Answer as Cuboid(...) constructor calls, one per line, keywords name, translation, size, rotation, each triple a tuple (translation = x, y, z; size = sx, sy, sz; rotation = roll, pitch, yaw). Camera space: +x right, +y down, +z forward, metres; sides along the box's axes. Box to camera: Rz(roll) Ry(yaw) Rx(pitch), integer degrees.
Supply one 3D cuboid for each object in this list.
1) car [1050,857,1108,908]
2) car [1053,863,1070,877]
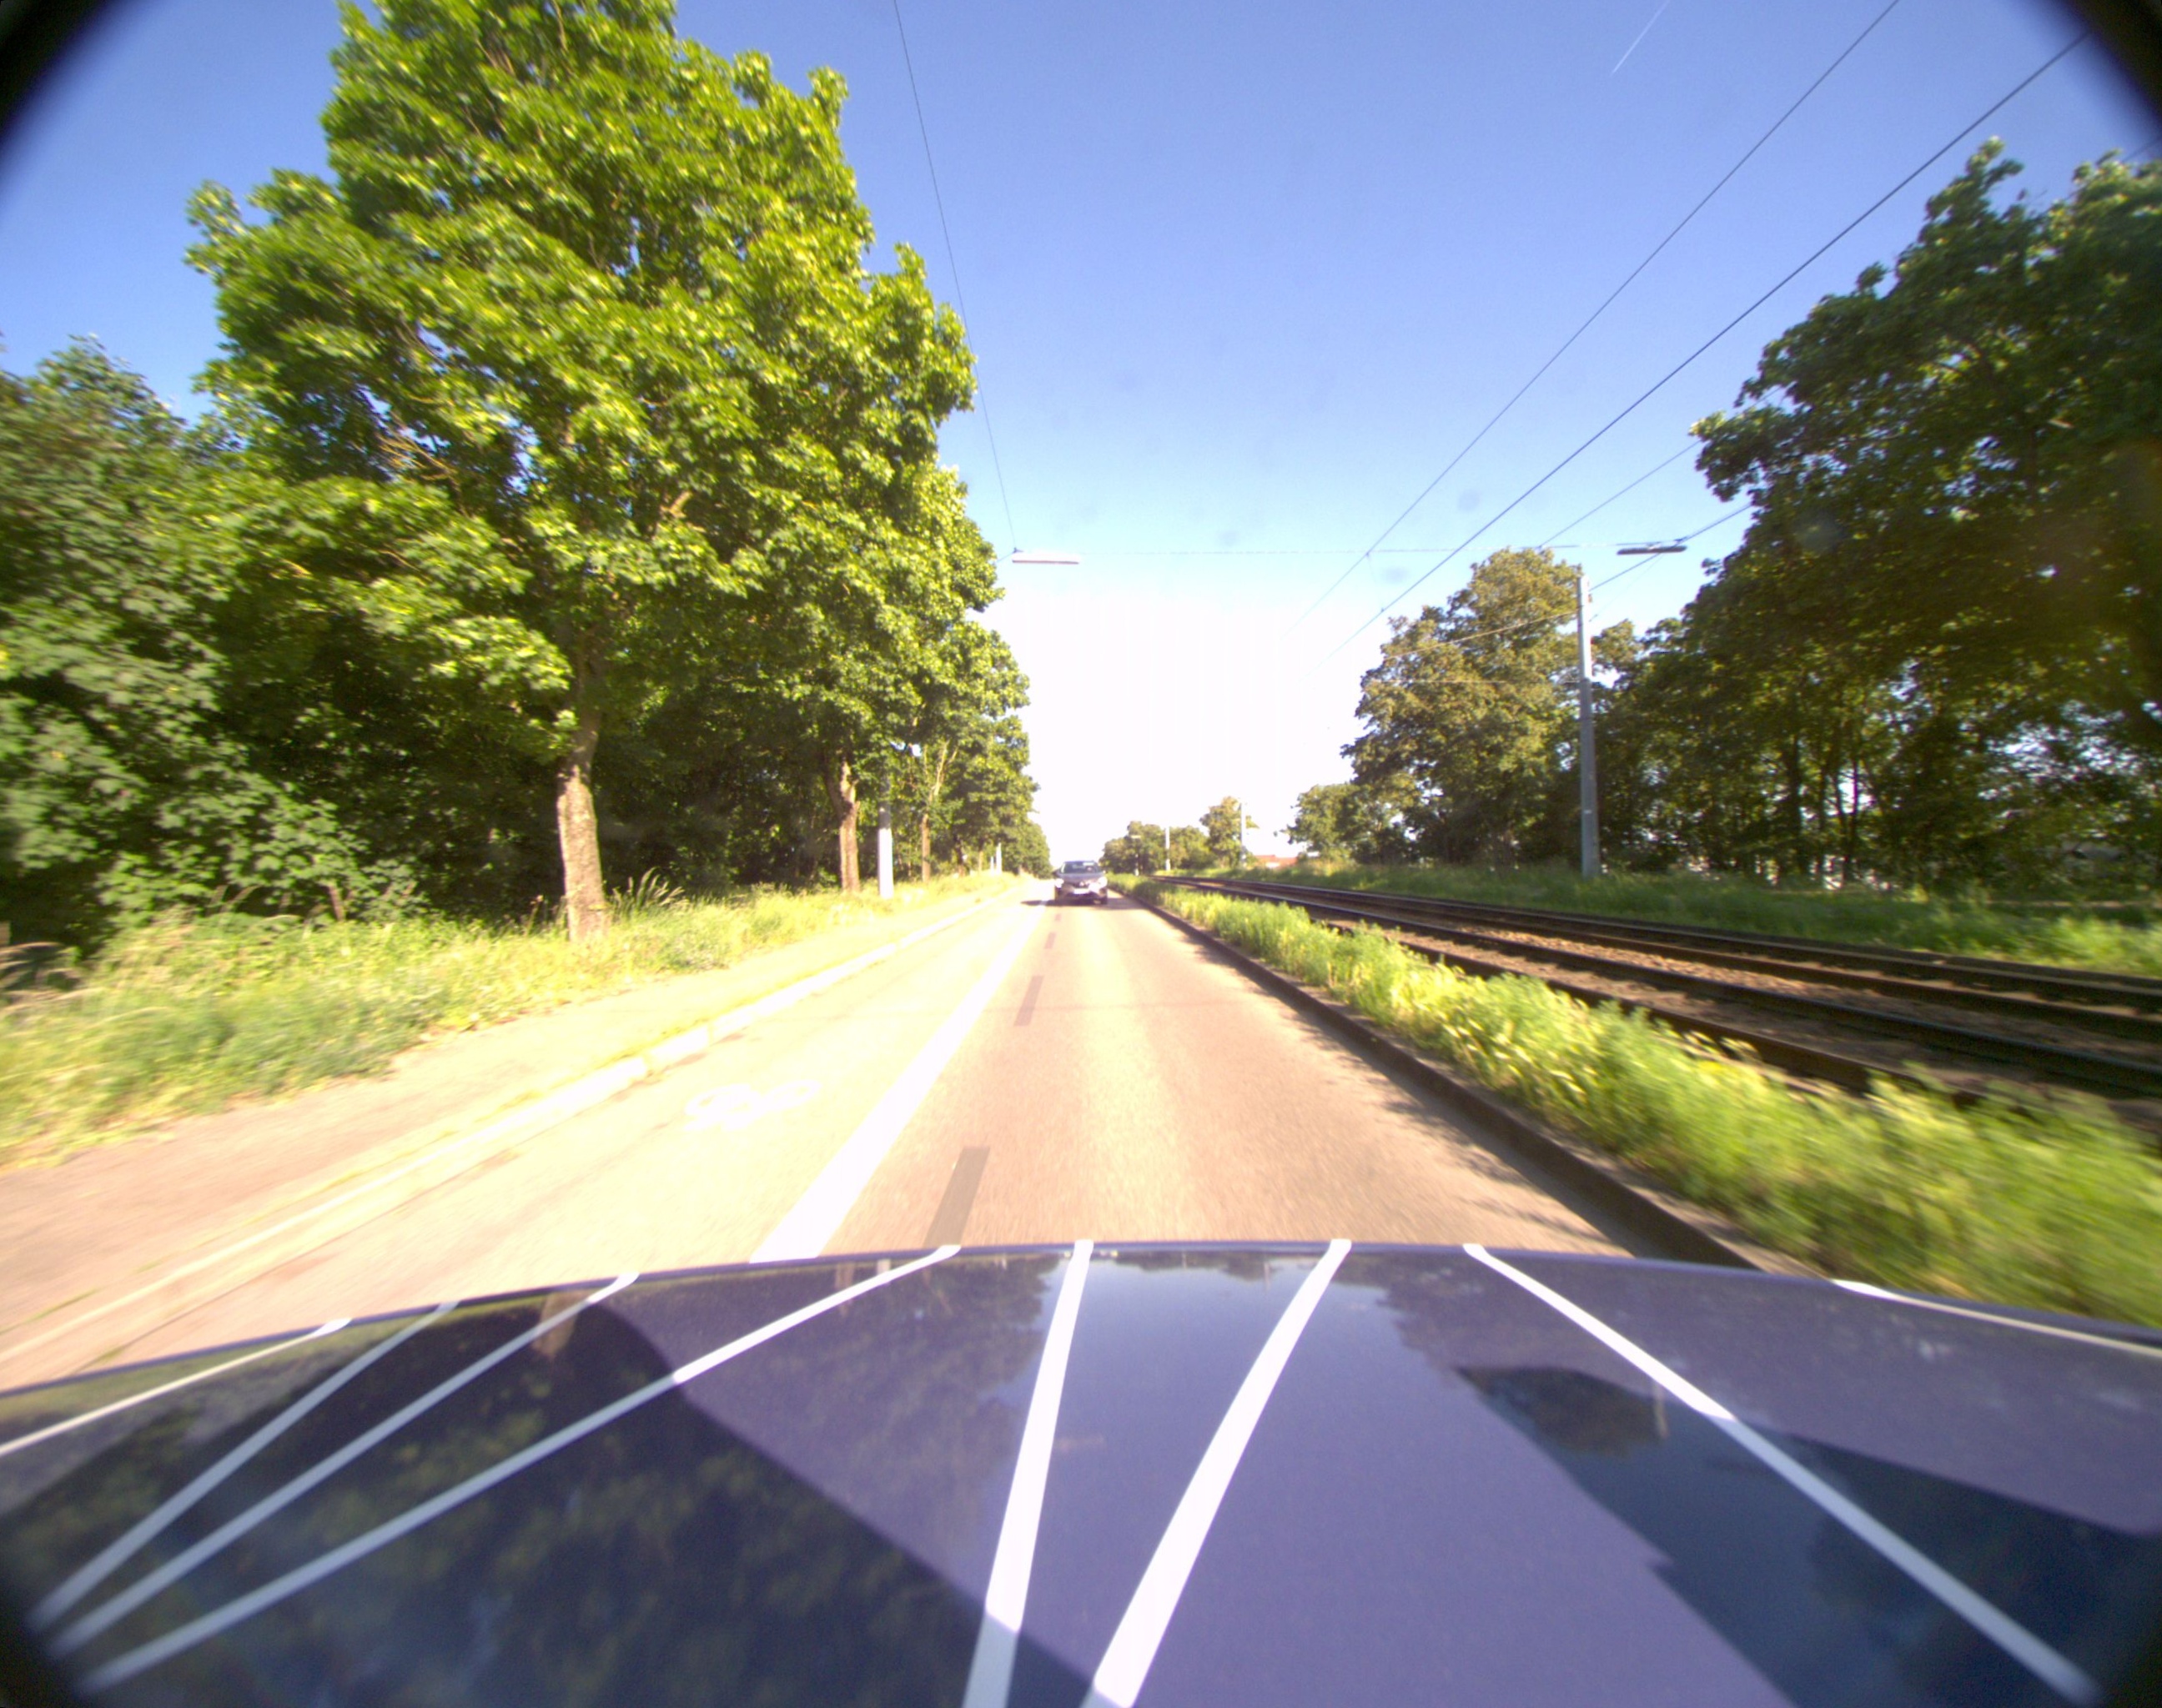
Cuboid(name="car", translation=(-0.092, 0.947, 27.188), size=(1.822, 1.589, 4.412), rotation=(-3, 0, -1))
Cuboid(name="car", translation=(-2.519, 2.054, 98.310), size=(1.999, 1.577, 3.998), rotation=(-3, 0, -4))
